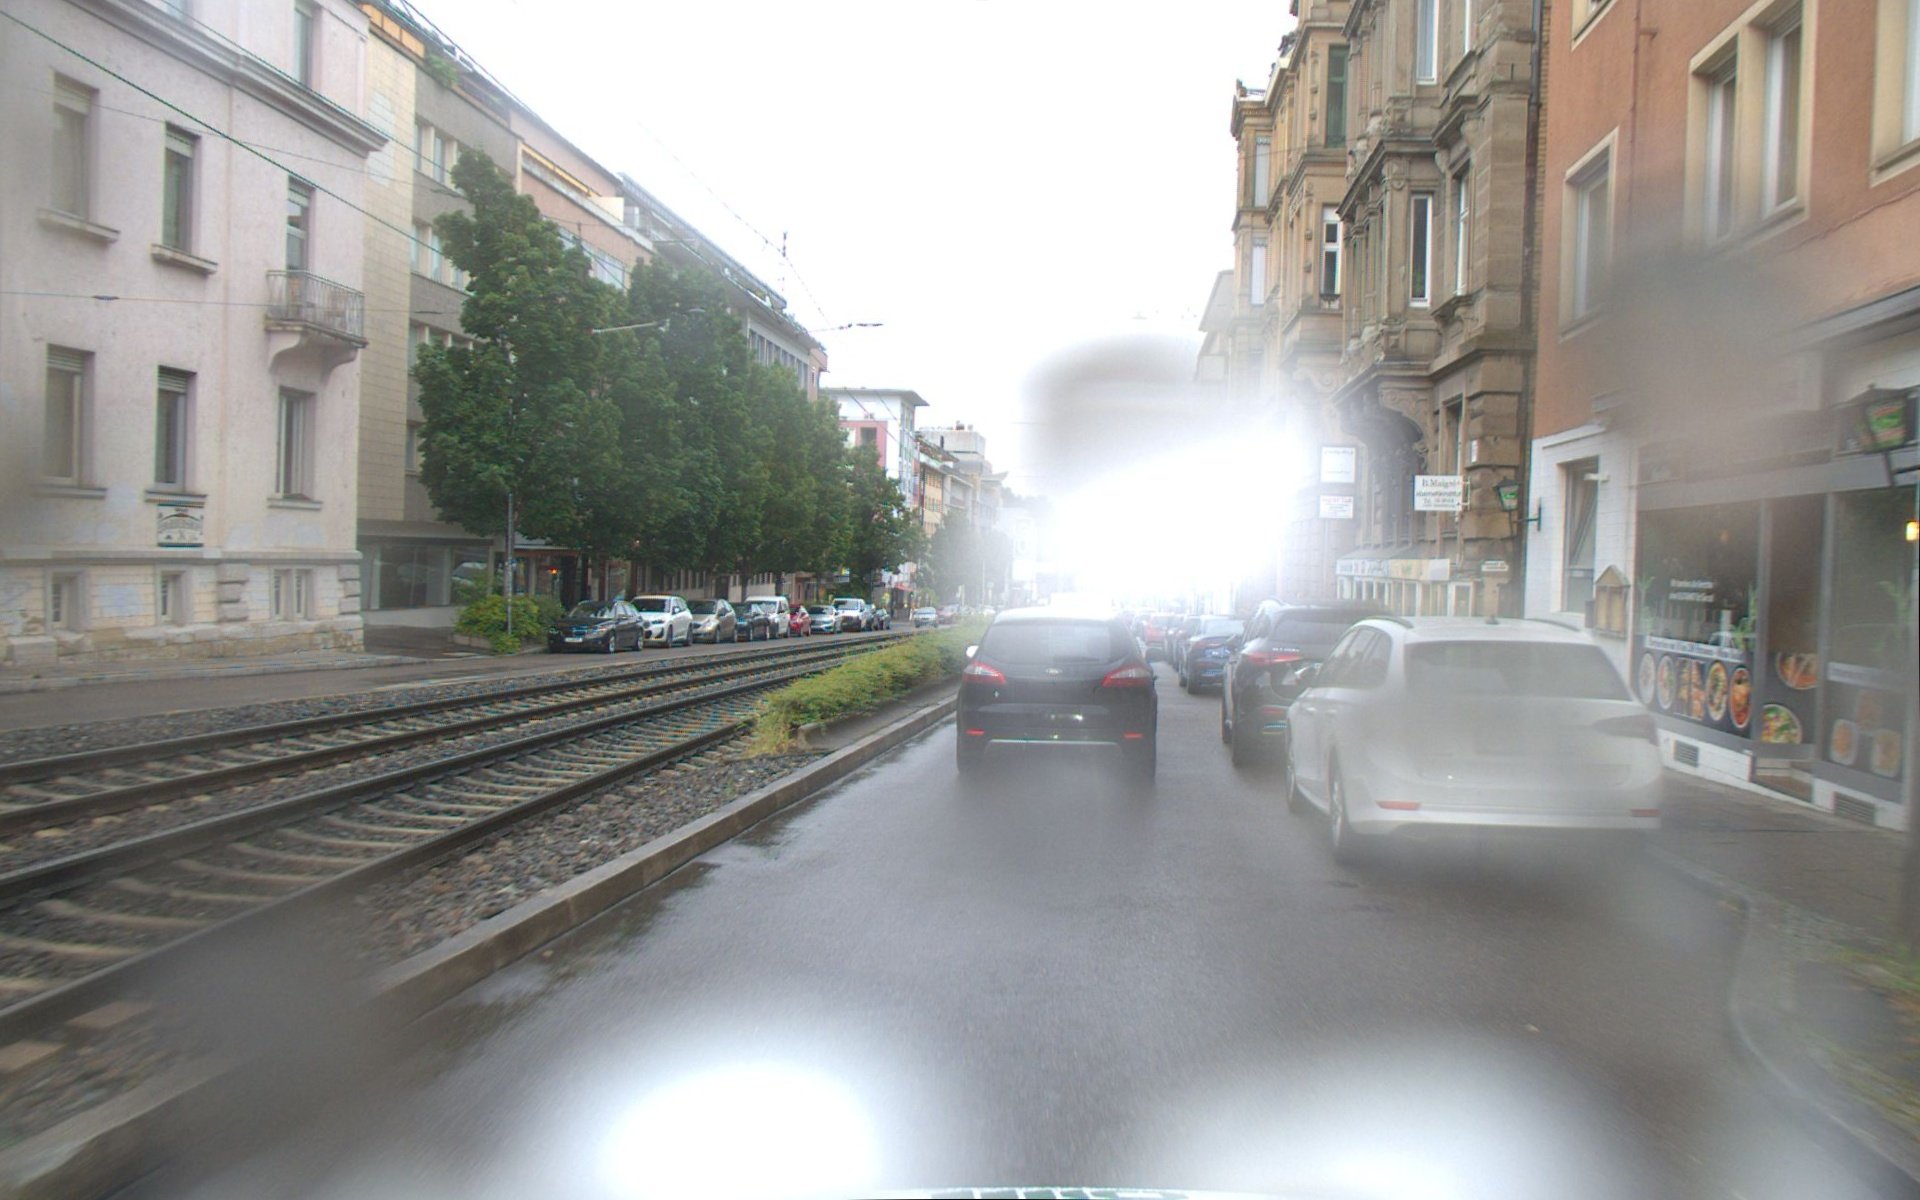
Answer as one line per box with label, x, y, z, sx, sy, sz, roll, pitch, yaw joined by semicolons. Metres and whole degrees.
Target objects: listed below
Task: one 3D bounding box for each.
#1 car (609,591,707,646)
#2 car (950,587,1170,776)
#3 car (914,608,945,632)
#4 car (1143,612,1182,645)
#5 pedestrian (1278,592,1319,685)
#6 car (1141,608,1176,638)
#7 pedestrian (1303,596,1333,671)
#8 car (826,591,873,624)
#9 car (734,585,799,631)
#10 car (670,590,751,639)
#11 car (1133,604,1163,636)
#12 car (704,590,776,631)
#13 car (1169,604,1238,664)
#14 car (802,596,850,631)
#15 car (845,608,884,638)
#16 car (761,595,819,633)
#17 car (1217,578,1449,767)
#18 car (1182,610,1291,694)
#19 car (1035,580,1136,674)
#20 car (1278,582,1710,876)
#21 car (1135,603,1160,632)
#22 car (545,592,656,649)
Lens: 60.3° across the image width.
car;-9.722;0.629;53.625;1.816;1.576;4.723;2;-2;6
car;0.946;0.715;15.698;1.804;1.533;4.001;1;-1;3
car;-2.338;1.553;126.460;1.816;1.665;4.048;2;-2;6
car;9.391;1.336;76.908;1.635;1.446;3.478;1;-1;5
pedestrian;6.880;0.773;33.621;0.688;1.851;0.962;-1;0;5
car;9.984;1.157;83.334;1.635;1.446;3.478;1;-1;5
pedestrian;7.762;0.734;35.873;0.508;1.607;0.678;-1;-3;5
car;-6.197;0.444;93.286;1.816;1.665;4.937;2;-2;6
car;-8.244;0.371;70.852;1.816;1.731;4.433;2;-2;6
car;-8.984;0.548;59.914;1.816;1.576;4.433;2;-2;6
car;12.410;1.340;109.466;1.800;1.812;3.781;4;-2;6
car;-8.572;0.434;64.825;1.816;1.443;4.433;0;-2;6
car;6.417;0.905;43.781;1.614;1.485;3.478;1;-1;6
car;-6.730;0.712;83.500;1.632;1.585;4.048;2;-2;6
car;-5.718;1.401;99.656;1.659;1.601;4.048;2;-2;6
car;-7.866;0.677;76.929;1.816;1.554;4.048;2;-2;6
car;3.762;0.737;17.410;1.806;1.661;4.589;2;-2;6
car;5.219;1.004;31.651;1.754;1.431;4.259;2;-2;6
car;3.114;0.635;40.063;1.946;2.096;4.649;2;0;10
car;3.191;0.736;10.834;1.763;1.481;4.589;1;-2;6
car;13.048;1.217;115.395;1.558;1.812;3.781;4;-2;6
car;-10.206;0.620;47.325;1.658;1.402;4.723;2;-2;6
